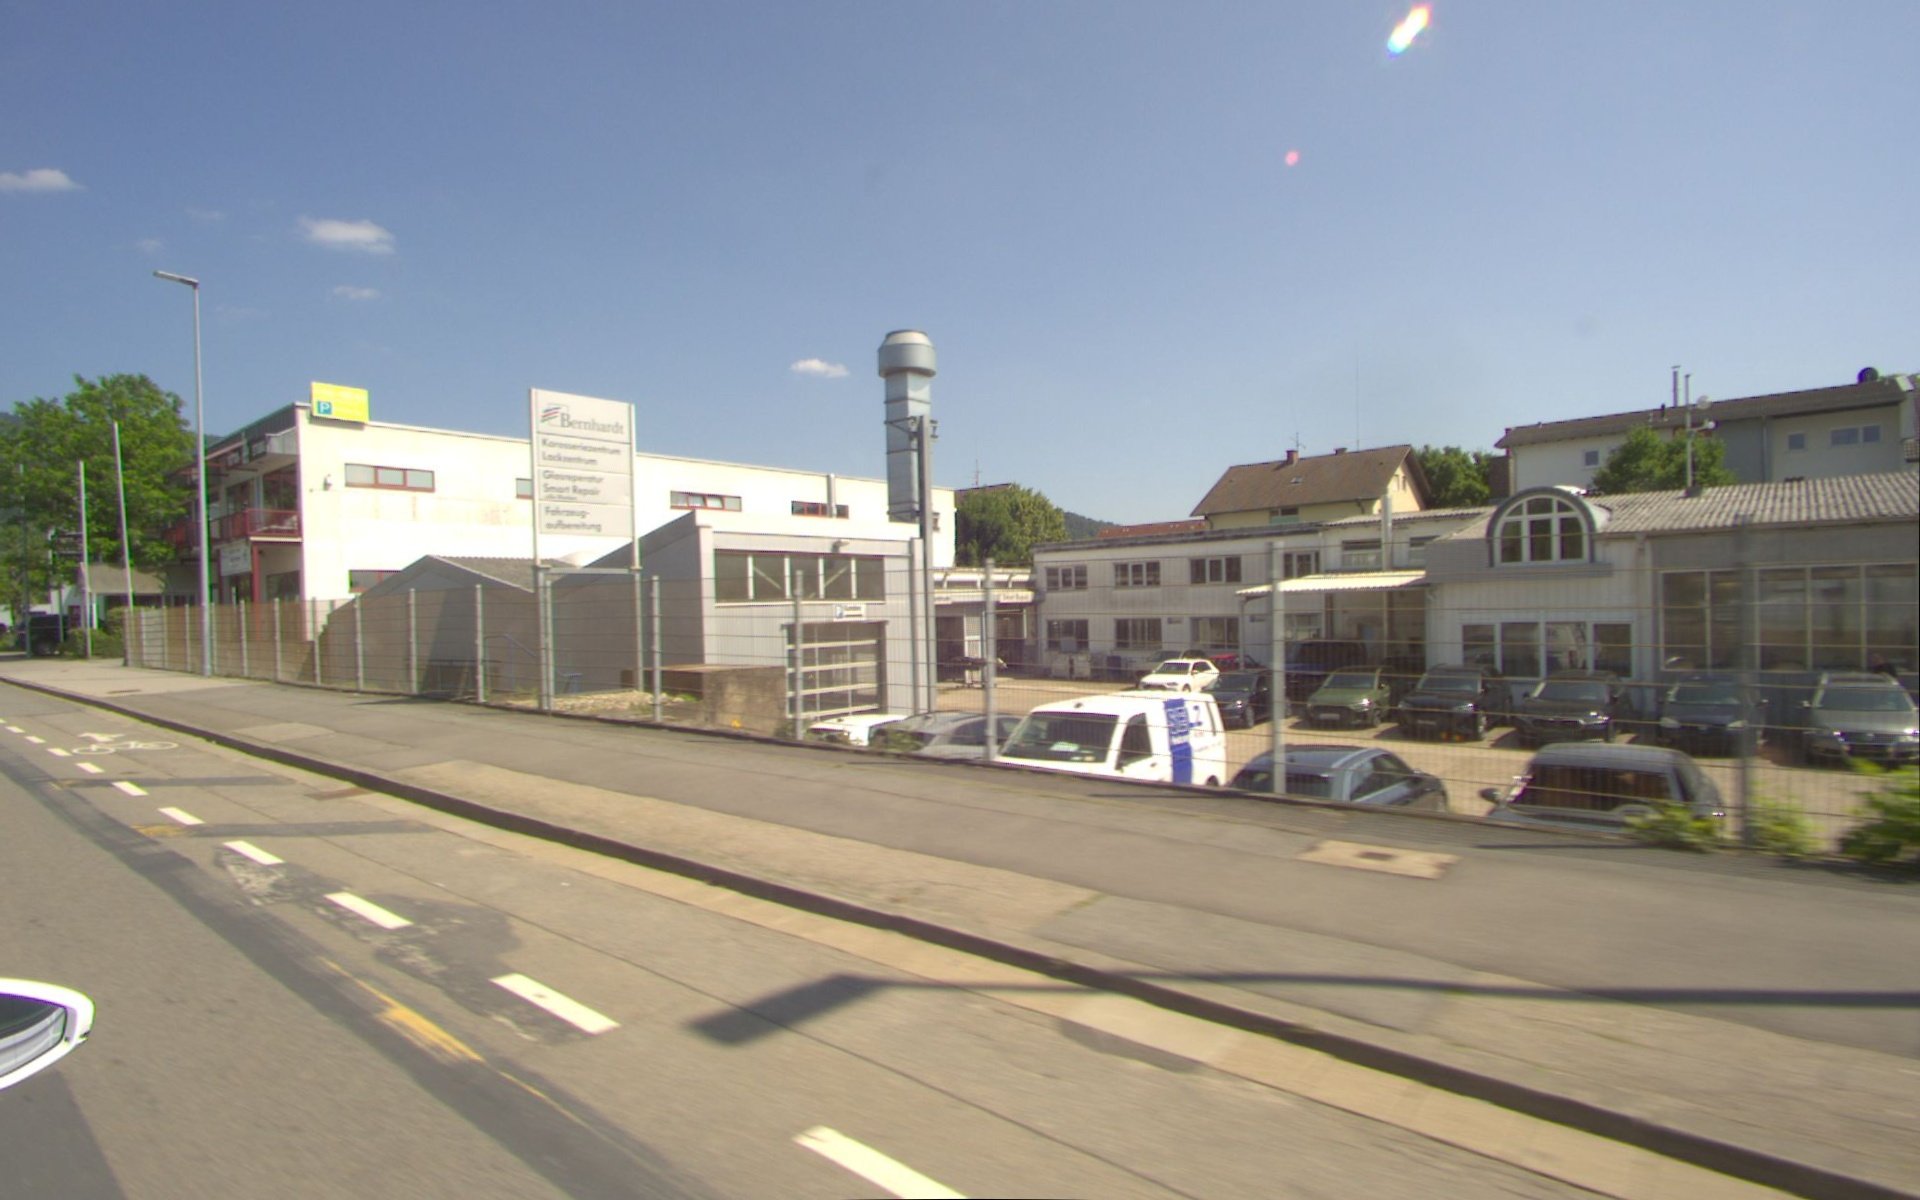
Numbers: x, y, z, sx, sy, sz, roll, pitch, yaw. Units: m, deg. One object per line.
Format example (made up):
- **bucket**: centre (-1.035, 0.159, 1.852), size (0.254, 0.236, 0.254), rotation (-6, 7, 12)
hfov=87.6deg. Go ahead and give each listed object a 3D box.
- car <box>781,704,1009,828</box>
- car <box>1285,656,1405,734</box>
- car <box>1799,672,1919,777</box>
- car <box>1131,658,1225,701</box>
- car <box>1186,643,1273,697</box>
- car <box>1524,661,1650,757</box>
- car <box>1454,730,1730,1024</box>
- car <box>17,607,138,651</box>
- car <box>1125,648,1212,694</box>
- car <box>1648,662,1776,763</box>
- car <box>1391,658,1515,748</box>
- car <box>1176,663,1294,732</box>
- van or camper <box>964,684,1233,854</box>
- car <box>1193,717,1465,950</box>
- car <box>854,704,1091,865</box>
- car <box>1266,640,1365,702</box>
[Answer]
- **car**: centre (-1.174, 3.032, 19.099), size (3.958, 1.853, 1.983), rotation (3, -2, -41)
- **car**: centre (10.543, 2.517, 27.288), size (1.841, 1.684, 3.967), rotation (-1, 1, 41)
- **car**: centre (17.434, 2.289, 19.215), size (1.825, 1.535, 3.971), rotation (-3, -1, 38)
- **car**: centre (7.951, 2.853, 36.311), size (1.848, 1.422, 3.811), rotation (-3, -4, 38)
- **car**: centre (10.860, 2.797, 40.246), size (1.976, 2.038, 3.974), rotation (-3, -4, 38)
- **car**: centre (14.133, 2.357, 22.470), size (1.976, 1.683, 3.971), rotation (-3, -1, 38)
- **car**: centre (6.734, 2.575, 10.474), size (1.976, 2.039, 3.972), rotation (0, -2, 39)
- **car**: centre (-39.576, 1.253, 44.968), size (3.959, 1.799, 1.981), rotation (-2, 1, -43)
- **car**: centre (8.620, 2.870, 41.260), size (1.975, 1.727, 3.974), rotation (0, -2, 38)
- **car**: centre (16.126, 2.308, 21.497), size (1.976, 1.683, 3.971), rotation (-3, -1, 38)
- **car**: centre (12.122, 2.420, 24.480), size (1.975, 1.684, 3.970), rotation (0, 2, 38)
- **car**: centre (7.829, 2.696, 28.283), size (1.823, 1.535, 3.971), rotation (-3, -1, 38)
- **van or camper**: centre (2.112, 2.201, 14.188), size (1.994, 1.672, 4.299), rotation (-1, -1, 36)
- **car**: centre (4.697, 2.643, 12.415), size (1.976, 2.039, 3.972), rotation (0, -2, 39)
- **car**: centre (0.324, 2.873, 16.547), size (1.829, 2.039, 3.972), rotation (0, -2, 39)
- **car**: centre (11.789, 2.271, 33.063), size (1.893, 1.880, 3.971), rotation (-1, -2, 39)
